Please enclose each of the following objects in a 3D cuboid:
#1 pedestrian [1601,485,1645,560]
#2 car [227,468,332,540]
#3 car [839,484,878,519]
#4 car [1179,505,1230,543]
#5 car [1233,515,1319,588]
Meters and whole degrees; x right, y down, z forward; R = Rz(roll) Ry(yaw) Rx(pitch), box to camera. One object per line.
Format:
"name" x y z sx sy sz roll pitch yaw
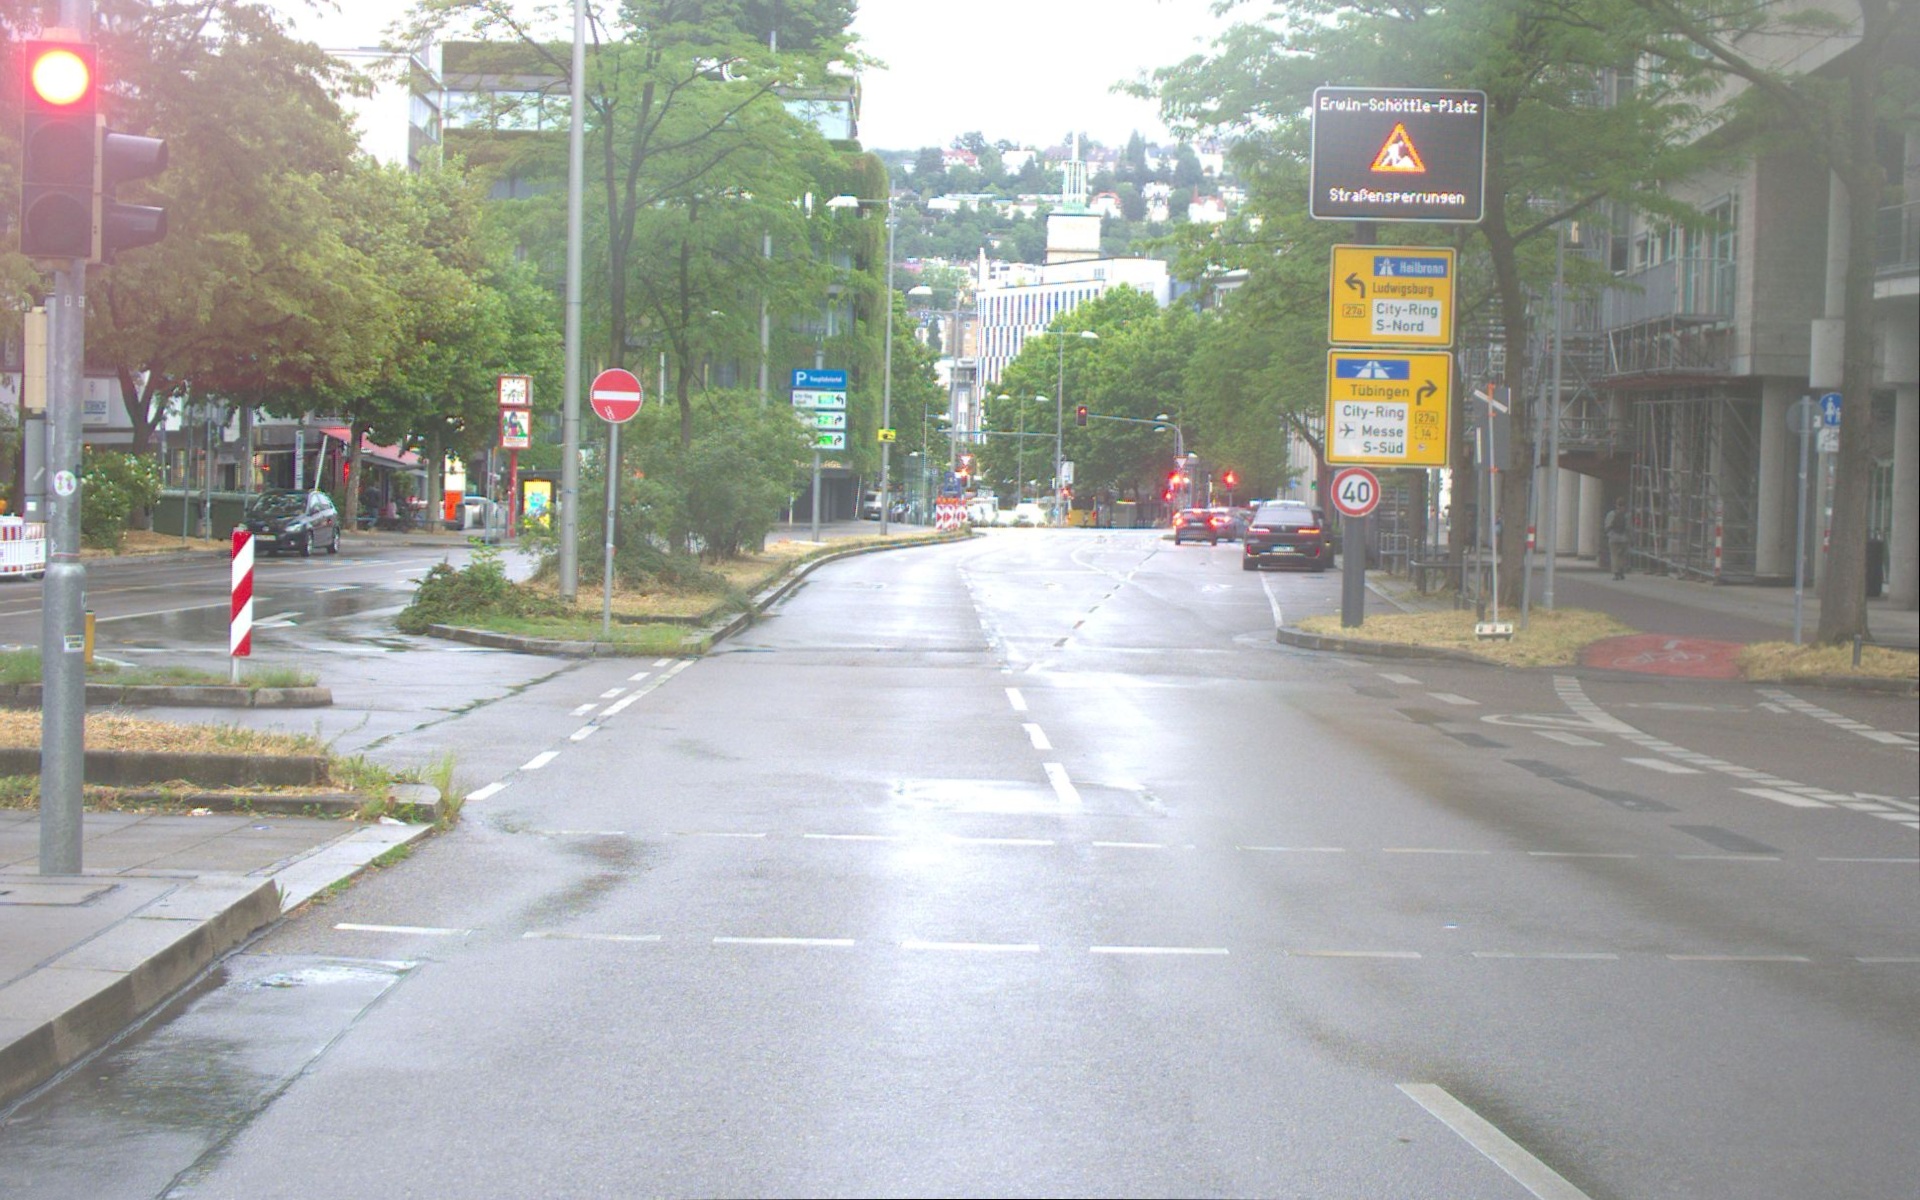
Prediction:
"pedestrian" 13.955 -1.626 72.408 0.786 1.552 0.532 2 1 4
"car" -16.456 -2.344 83.275 1.780 1.550 3.894 2 3 -1
"car" -6.614 -6.395 223.898 2.128 2.157 5.197 2 1 2
"car" 10.214 -3.178 144.019 1.746 1.514 4.107 2 1 -1
"car" 7.644 -1.188 83.528 1.901 1.678 3.910 2 1 4
